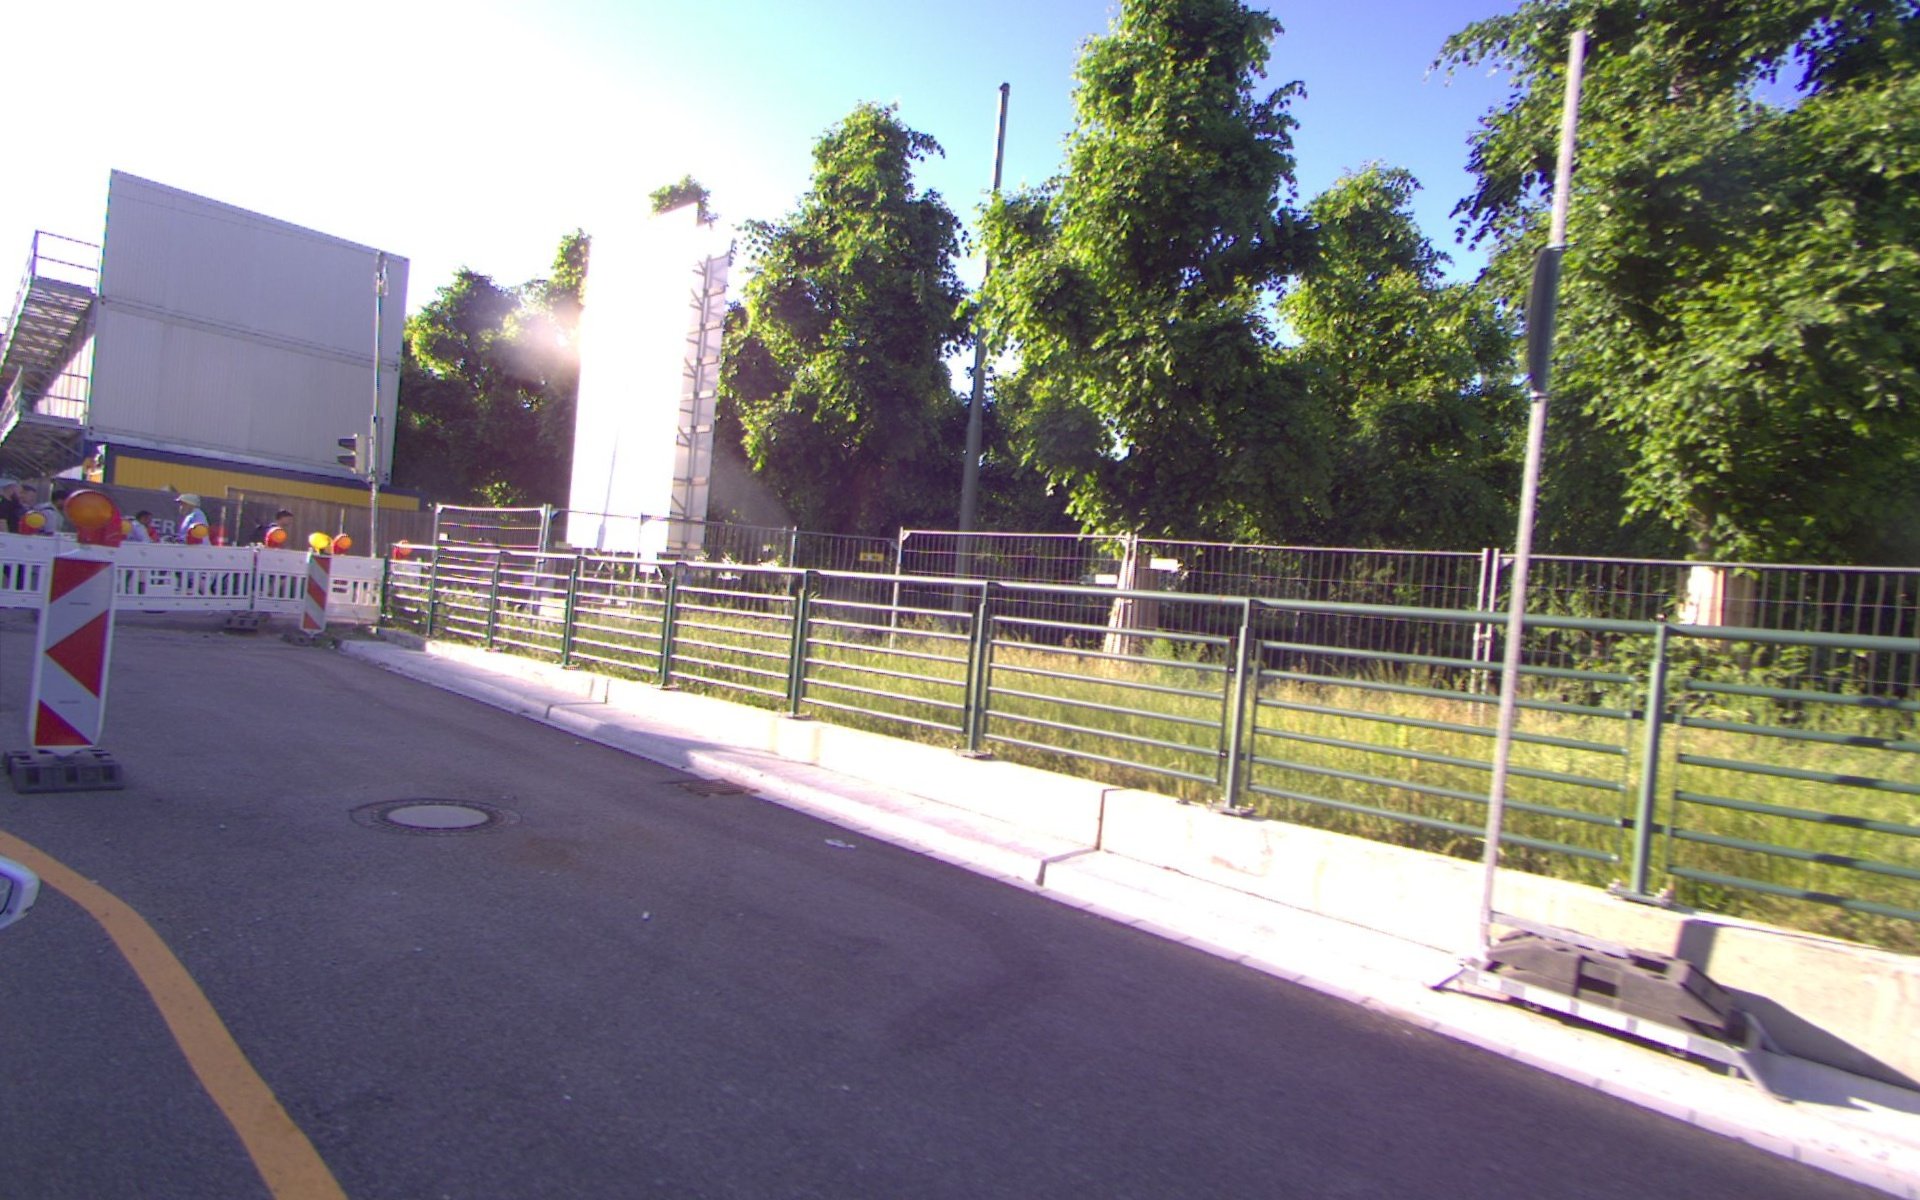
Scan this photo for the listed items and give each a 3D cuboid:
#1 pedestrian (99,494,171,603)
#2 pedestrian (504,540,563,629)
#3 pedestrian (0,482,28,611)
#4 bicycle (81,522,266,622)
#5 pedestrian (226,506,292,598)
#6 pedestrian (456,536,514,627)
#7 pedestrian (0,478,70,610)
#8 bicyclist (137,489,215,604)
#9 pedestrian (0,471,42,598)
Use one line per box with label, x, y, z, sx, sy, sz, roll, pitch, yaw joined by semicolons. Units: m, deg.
pedestrian;-13.082;-0.810;15.951;0.765;1.640;0.657;3;2;-45
pedestrian;-8.090;-0.290;19.093;0.653;1.586;0.745;5;2;7
pedestrian;-13.298;-0.758;13.755;0.734;1.738;0.614;3;3;-45
bicycle;-11.312;-0.383;14.538;0.471;1.216;1.987;6;-1;44
pedestrian;-12.014;-0.826;17.245;0.765;1.481;0.657;3;2;-45
pedestrian;-8.964;-0.349;18.989;0.734;1.625;0.635;3;2;-45
pedestrian;-13.320;-0.799;14.428;0.734;1.794;0.614;3;3;-45
bicyclist;-11.291;-0.763;14.491;0.677;1.534;0.700;6;0;45
pedestrian;-13.981;-0.970;14.701;0.734;1.794;0.714;3;3;-45
